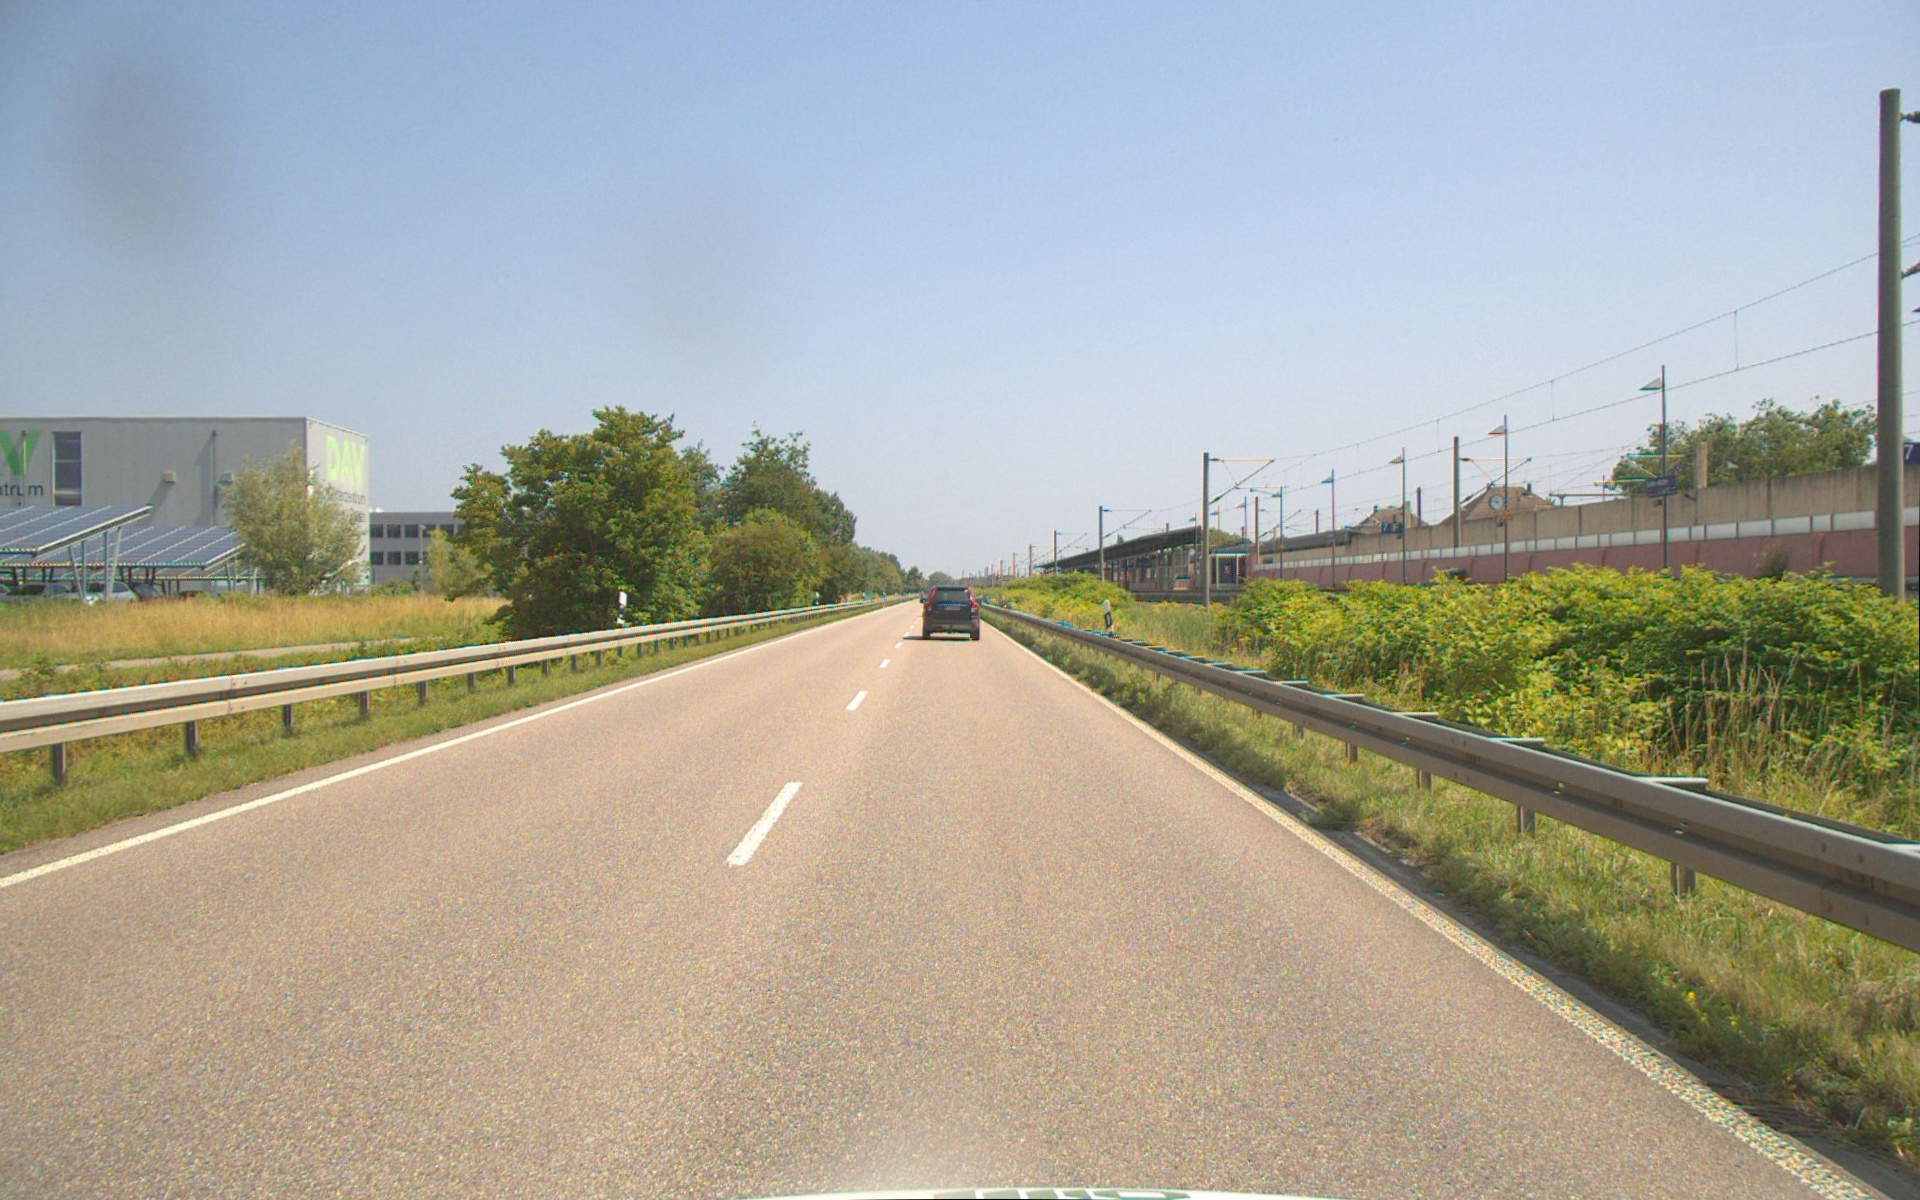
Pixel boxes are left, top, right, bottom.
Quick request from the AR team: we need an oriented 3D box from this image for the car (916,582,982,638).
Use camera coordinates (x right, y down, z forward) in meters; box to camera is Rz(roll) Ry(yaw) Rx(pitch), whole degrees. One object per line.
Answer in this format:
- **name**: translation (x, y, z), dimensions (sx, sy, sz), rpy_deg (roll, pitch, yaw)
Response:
- **car**: translation (-0.404, 0.306, 53.815), dimensions (1.954, 1.730, 3.998), rpy_deg (0, 0, -3)

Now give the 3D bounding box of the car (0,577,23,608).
- **car**: translation (-42.081, -0.320, 71.358), dimensions (1.587, 1.314, 3.362), rpy_deg (0, 0, -4)
